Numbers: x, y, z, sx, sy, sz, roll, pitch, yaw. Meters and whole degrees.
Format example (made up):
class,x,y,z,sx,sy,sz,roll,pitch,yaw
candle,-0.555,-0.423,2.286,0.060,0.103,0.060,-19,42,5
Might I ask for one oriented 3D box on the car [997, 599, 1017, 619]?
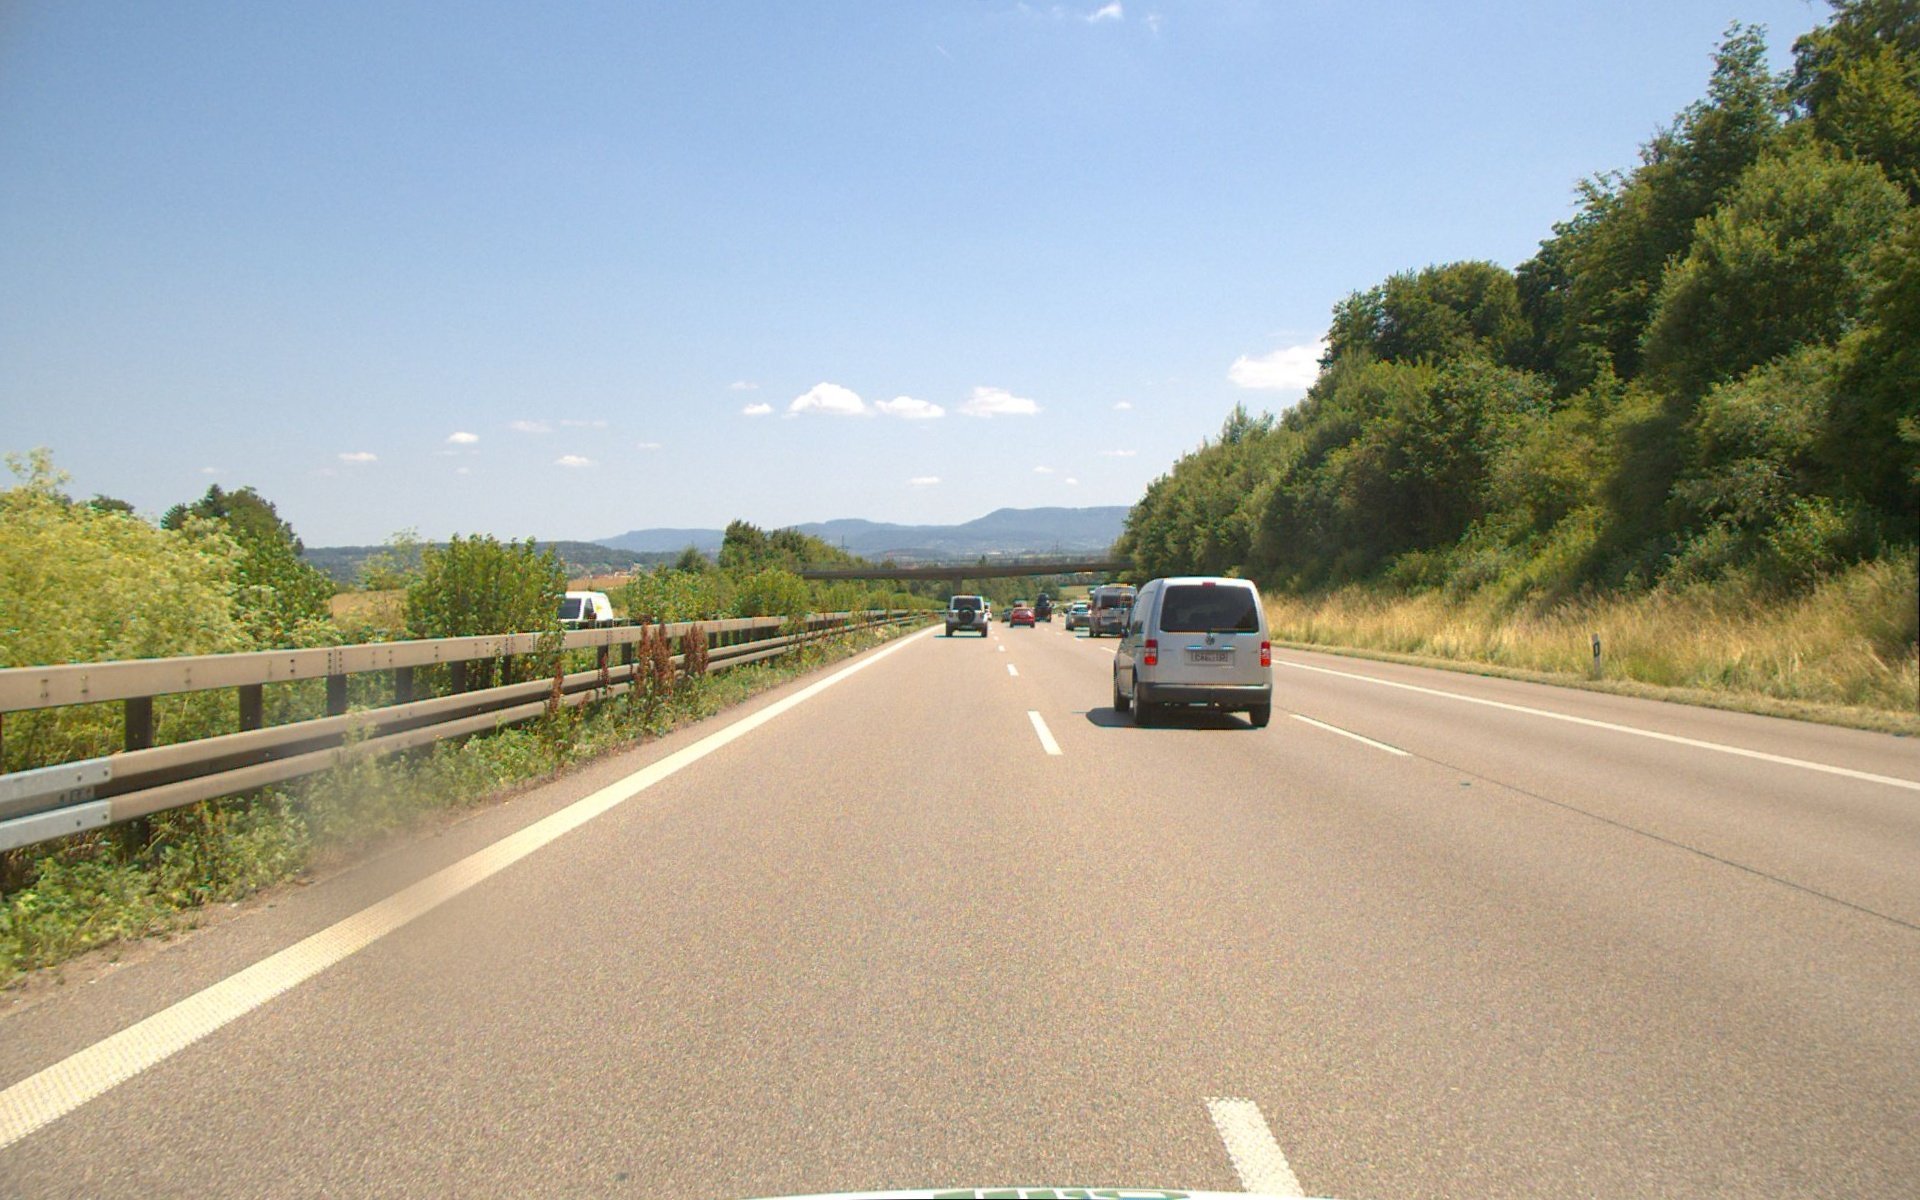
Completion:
class,x,y,z,sx,sy,sz,roll,pitch,yaw
car,4.871,0.916,172.507,1.952,2.049,4.000,1,0,1

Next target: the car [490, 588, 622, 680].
class,x,y,z,sx,sy,sz,roll,pitch,yaw
car,-9.672,0.749,40.033,1.866,2.049,5.365,1,0,0

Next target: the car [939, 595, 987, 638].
class,x,y,z,sx,sy,sz,roll,pitch,yaw
car,0.168,0.725,76.800,2.040,1.861,4.755,1,0,2

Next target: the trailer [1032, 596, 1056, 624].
class,x,y,z,sx,sy,sz,roll,pitch,yaw
trailer,12.758,1.434,250.880,2.795,4.063,15.407,1,1,6

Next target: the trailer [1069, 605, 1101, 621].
class,x,y,z,sx,sy,sz,roll,pitch,yaw
trailer,8.031,0.804,106.243,1.718,0.924,4.319,1,1,0

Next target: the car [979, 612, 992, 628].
class,x,y,z,sx,sy,sz,roll,pitch,yaw
car,3.441,2.682,220.556,1.663,2.049,3.823,1,0,1

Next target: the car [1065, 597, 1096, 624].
class,x,y,z,sx,sy,sz,roll,pitch,yaw
car,8.058,0.685,110.598,1.744,1.679,4.403,1,0,0

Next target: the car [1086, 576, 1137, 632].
class,x,y,z,sx,sy,sz,roll,pitch,yaw
car,7.485,0.146,82.106,2.046,2.621,6.623,1,0,1

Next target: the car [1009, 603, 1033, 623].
class,x,y,z,sx,sy,sz,roll,pitch,yaw
car,4.356,0.919,118.891,1.651,1.403,3.949,1,1,1

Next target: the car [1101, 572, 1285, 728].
class,x,y,z,sx,sy,sz,roll,pitch,yaw
car,3.022,0.584,22.390,1.710,1.861,4.800,1,0,-1
